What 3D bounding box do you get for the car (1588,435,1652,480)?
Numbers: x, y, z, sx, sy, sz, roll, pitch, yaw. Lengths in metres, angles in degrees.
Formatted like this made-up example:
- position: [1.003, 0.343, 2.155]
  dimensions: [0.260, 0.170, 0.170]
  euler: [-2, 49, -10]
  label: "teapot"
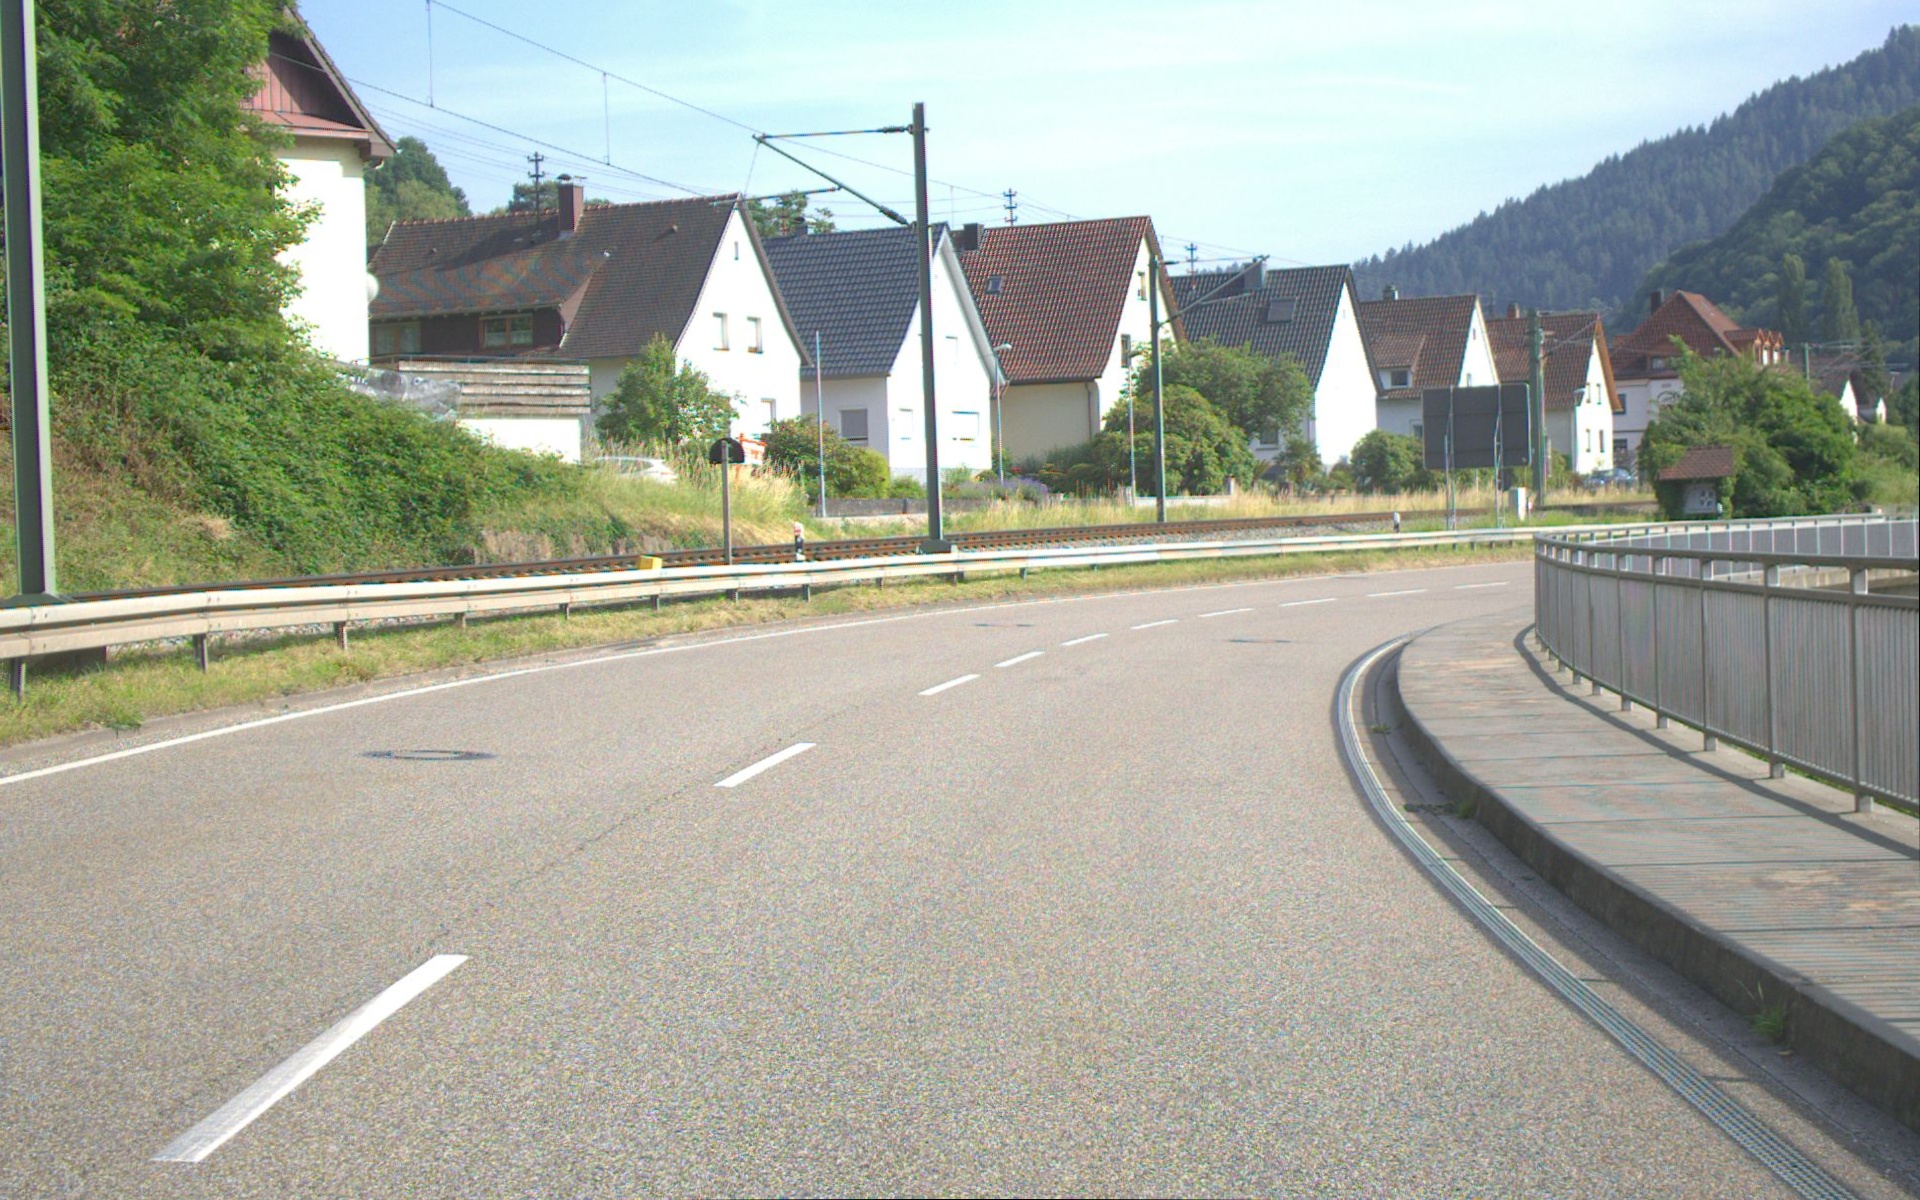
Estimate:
- position: [31.052, -6.698, 161.761]
  dimensions: [1.996, 1.875, 3.995]
  euler: [6, 4, 23]
  label: "car"
